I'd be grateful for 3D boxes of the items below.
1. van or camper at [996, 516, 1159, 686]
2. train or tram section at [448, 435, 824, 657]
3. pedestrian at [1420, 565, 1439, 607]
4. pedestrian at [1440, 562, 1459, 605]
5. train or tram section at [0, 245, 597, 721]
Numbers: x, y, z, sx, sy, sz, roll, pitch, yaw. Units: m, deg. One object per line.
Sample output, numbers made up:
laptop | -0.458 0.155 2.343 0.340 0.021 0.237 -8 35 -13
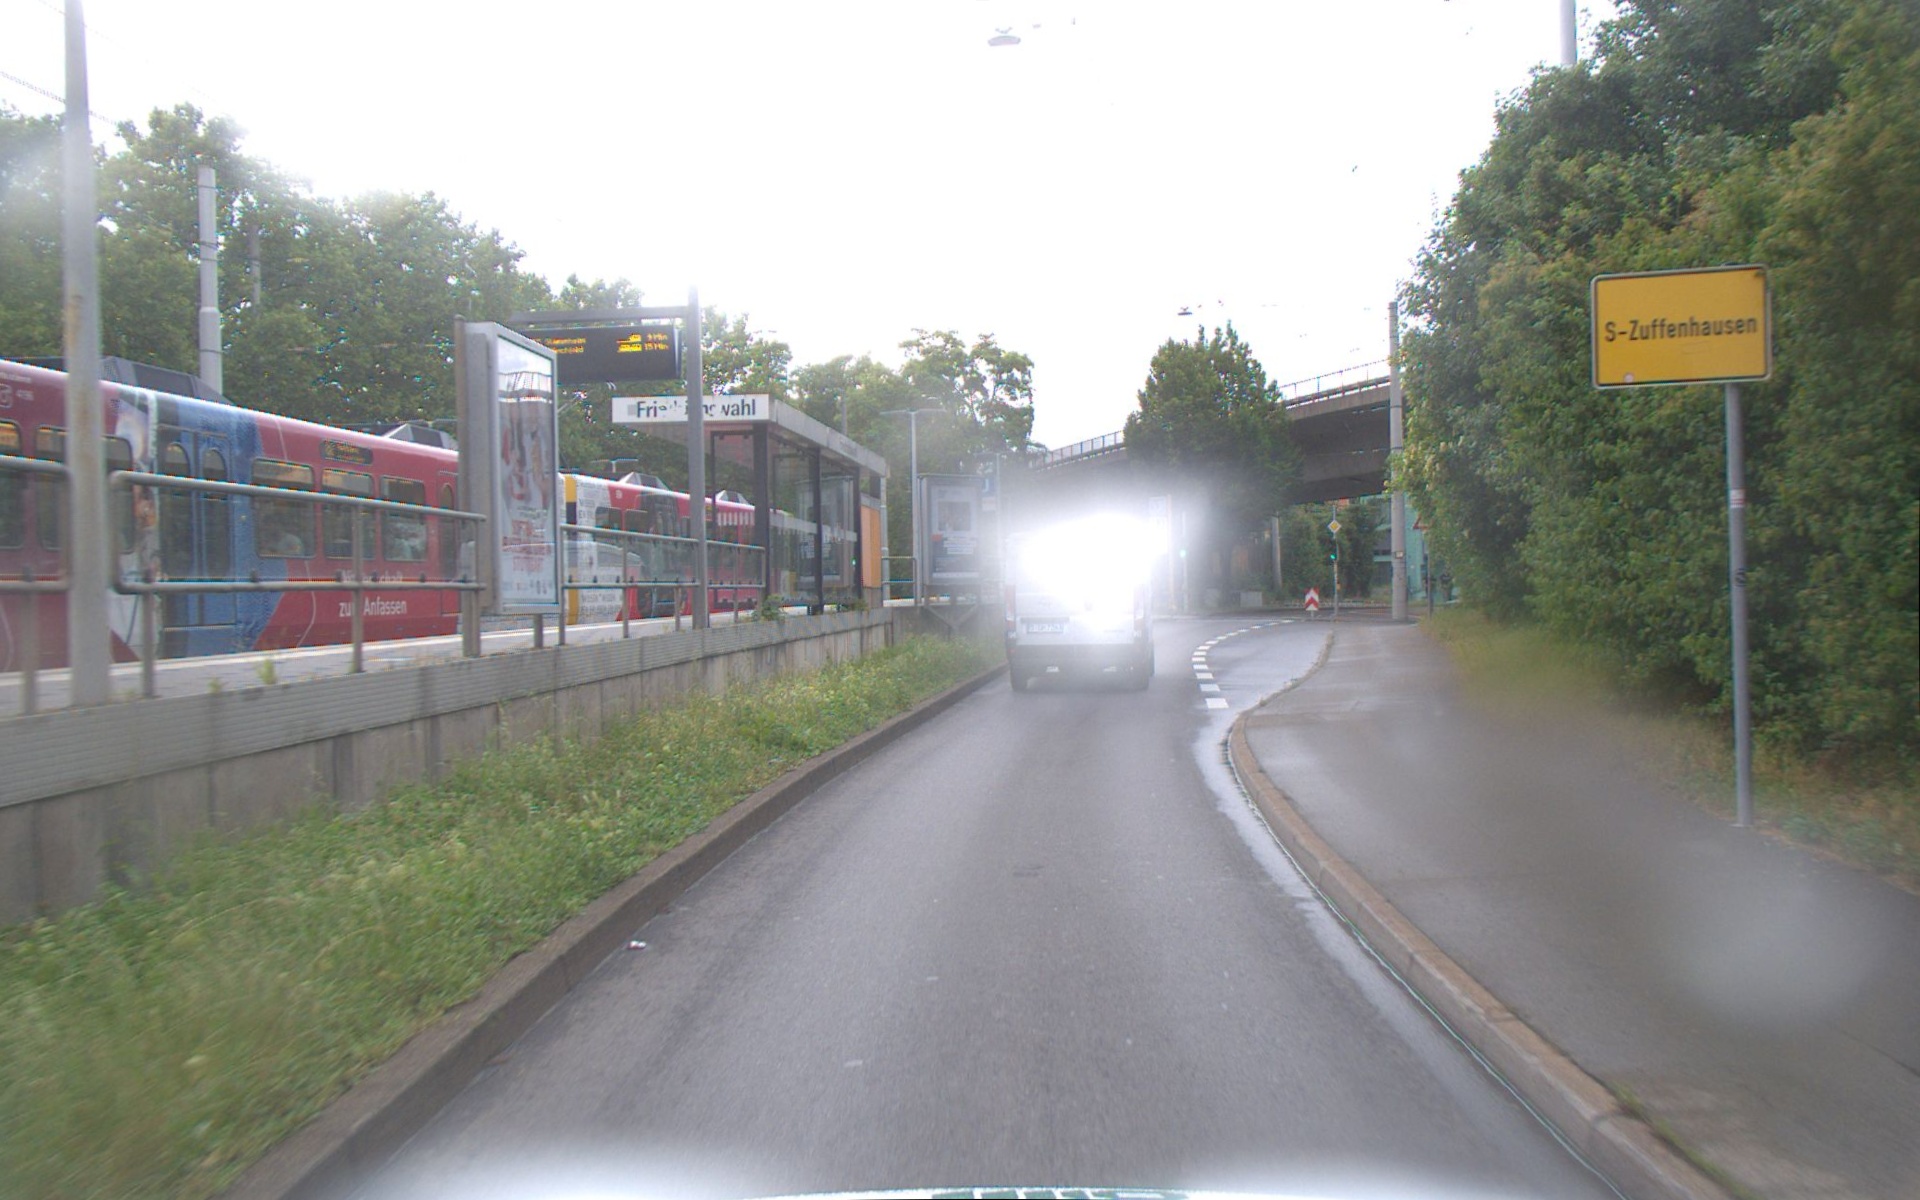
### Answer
van or camper | 1.886 0.007 25.049 2.152 2.292 4.687 1 0 7
train or tram section | -6.774 -0.990 40.023 2.807 4.030 19.346 1 0 8
pedestrian | 20.733 -0.628 73.004 0.612 1.840 0.836 1 0 3
pedestrian | 21.499 -0.711 72.635 0.584 1.854 0.910 1 0 5
train or tram section | -8.961 -1.013 20.745 2.807 4.040 19.343 1 0 5
